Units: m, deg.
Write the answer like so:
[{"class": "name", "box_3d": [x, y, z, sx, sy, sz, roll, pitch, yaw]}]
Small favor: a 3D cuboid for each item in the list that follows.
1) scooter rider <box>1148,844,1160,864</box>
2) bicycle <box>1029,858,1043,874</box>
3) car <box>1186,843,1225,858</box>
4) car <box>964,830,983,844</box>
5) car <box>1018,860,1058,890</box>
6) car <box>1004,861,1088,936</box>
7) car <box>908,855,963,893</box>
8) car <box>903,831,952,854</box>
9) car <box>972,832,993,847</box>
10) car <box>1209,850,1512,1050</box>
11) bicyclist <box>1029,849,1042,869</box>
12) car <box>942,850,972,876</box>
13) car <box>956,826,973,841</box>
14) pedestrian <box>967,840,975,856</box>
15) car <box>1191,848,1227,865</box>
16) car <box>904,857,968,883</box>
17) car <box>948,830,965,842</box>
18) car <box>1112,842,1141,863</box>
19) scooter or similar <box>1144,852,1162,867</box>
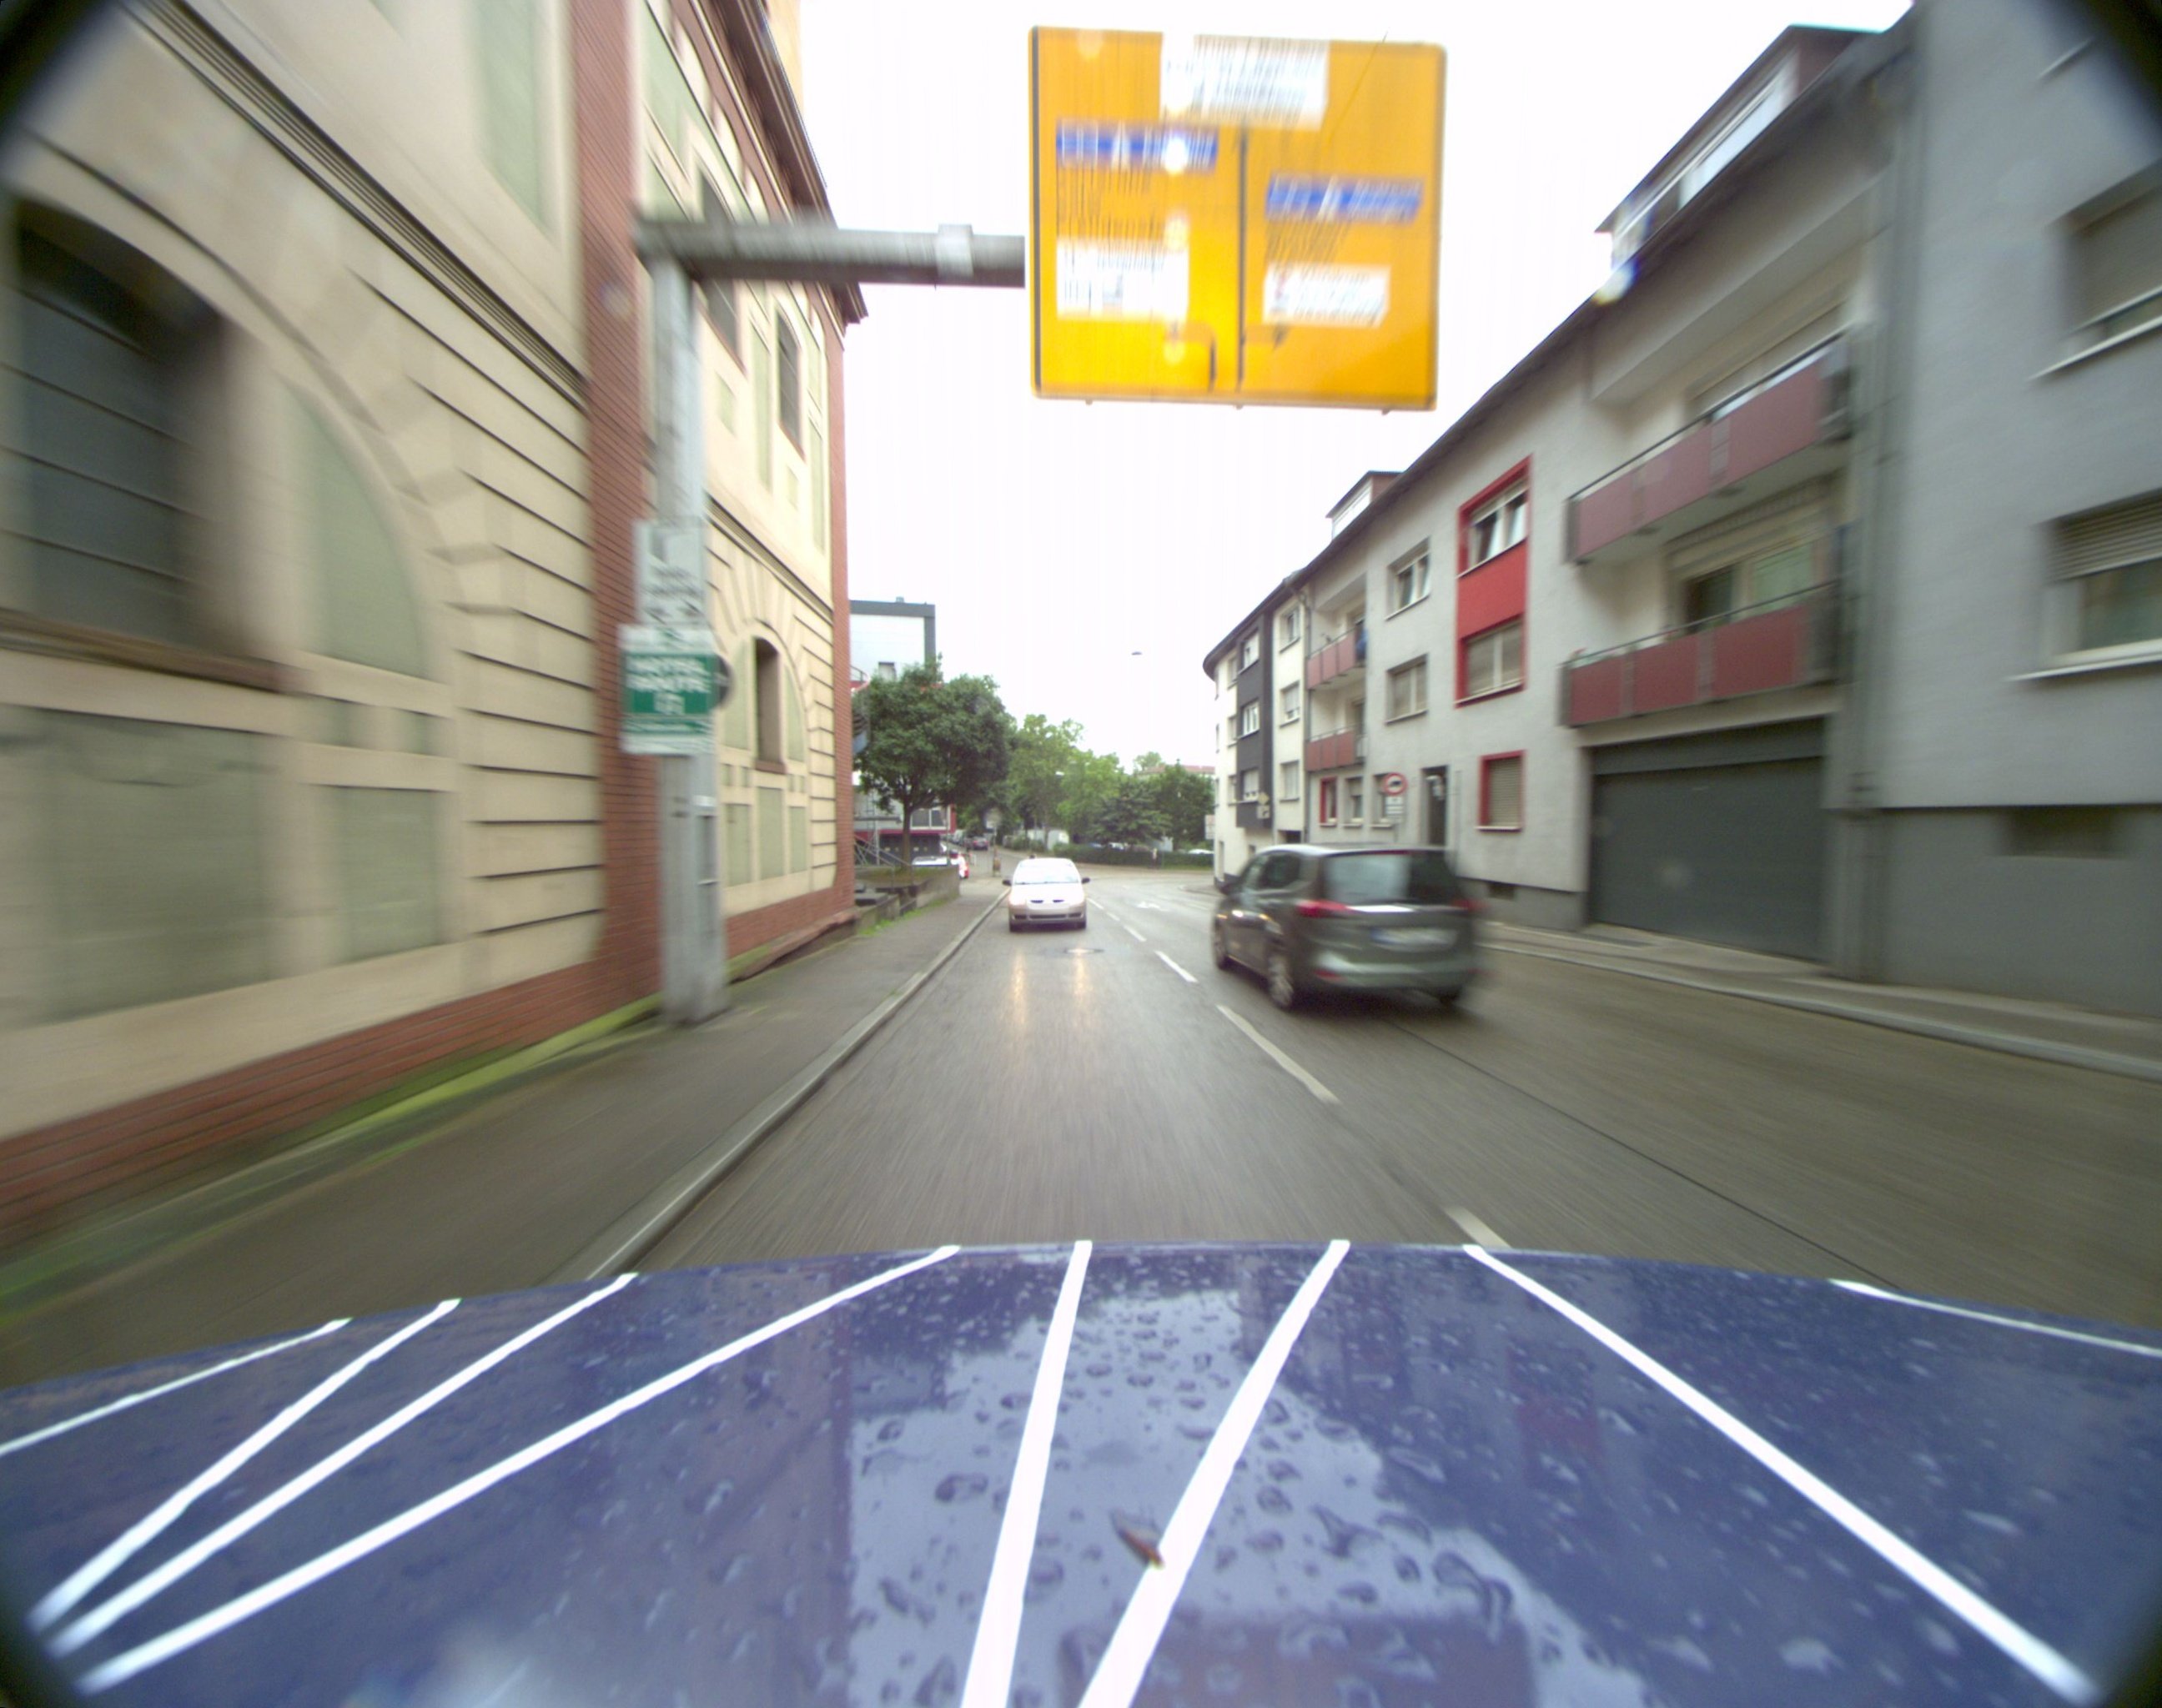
[{"class": "scooter rider", "box_3d": [6.713, -0.015, 70.238, 0.782, 1.811, 0.803, 1, 2, -17]}, {"class": "bicycle", "box_3d": [-3.328, 0.890, 56.322, 0.888, 1.180, 2.133, 0, 0, 1]}, {"class": "car", "box_3d": [14.517, -0.453, 88.526, 4.006, 1.502, 1.796, 2, 2, -24]}, {"class": "car", "box_3d": [-14.250, -2.248, 100.717, 1.910, 1.642, 3.991, -1, 4, -17]}, {"class": "car", "box_3d": [-2.358, 1.100, 40.458, 1.688, 1.418, 3.836, -2, -1, -9]}, {"class": "car", "box_3d": [-0.794, 0.960, 17.612, 1.687, 1.495, 3.838, -2, -1, -2]}, {"class": "car", "box_3d": [-6.507, 0.890, 34.473, 1.858, 1.607, 4.914, 0, -1, -4]}, {"class": "car", "box_3d": [-15.884, -1.245, 78.942, 4.893, 2.200, 1.880, 1, 4, -10]}, {"class": "car", "box_3d": [-12.278, -1.792, 94.435, 1.910, 1.642, 3.991, -1, 4, -17]}, {"class": "car", "box_3d": [2.647, 0.782, 8.274, 1.769, 1.648, 3.986, 0, 0, -1]}, {"class": "bicyclist", "box_3d": [-3.333, 0.391, 56.169, 0.888, 1.481, 0.968, 0, 0, 1]}, {"class": "car", "box_3d": [-9.264, 0.637, 56.718, 1.933, 1.702, 4.485, 0, 2, -13]}, {"class": "car", "box_3d": [-16.509, -2.905, 107.522, 1.910, 2.064, 3.991, -1, 4, -17]}, {"class": "pedestrian", "box_3d": [-11.010, -0.563, 76.340, 0.704, 1.559, 0.621, -1, 5, -15]}, {"class": "car", "box_3d": [13.820, 0.251, 82.034, 1.640, 1.612, 4.201, 2, 2, -25]}, {"class": "car", "box_3d": [-9.647, 1.039, 50.601, 3.995, 1.524, 1.872, 2, 2, -17]}, {"class": "car", "box_3d": [-18.643, -2.755, 113.880, 1.910, 1.642, 3.991, -1, 4, -17]}, {"class": "car", "box_3d": [4.685, -0.184, 78.027, 1.638, 1.949, 4.205, 3, 1, -15]}, {"class": "scooter or similar", "box_3d": [6.681, 0.490, 70.251, 1.410, 1.315, 0.803, 1, 2, -17]}]
